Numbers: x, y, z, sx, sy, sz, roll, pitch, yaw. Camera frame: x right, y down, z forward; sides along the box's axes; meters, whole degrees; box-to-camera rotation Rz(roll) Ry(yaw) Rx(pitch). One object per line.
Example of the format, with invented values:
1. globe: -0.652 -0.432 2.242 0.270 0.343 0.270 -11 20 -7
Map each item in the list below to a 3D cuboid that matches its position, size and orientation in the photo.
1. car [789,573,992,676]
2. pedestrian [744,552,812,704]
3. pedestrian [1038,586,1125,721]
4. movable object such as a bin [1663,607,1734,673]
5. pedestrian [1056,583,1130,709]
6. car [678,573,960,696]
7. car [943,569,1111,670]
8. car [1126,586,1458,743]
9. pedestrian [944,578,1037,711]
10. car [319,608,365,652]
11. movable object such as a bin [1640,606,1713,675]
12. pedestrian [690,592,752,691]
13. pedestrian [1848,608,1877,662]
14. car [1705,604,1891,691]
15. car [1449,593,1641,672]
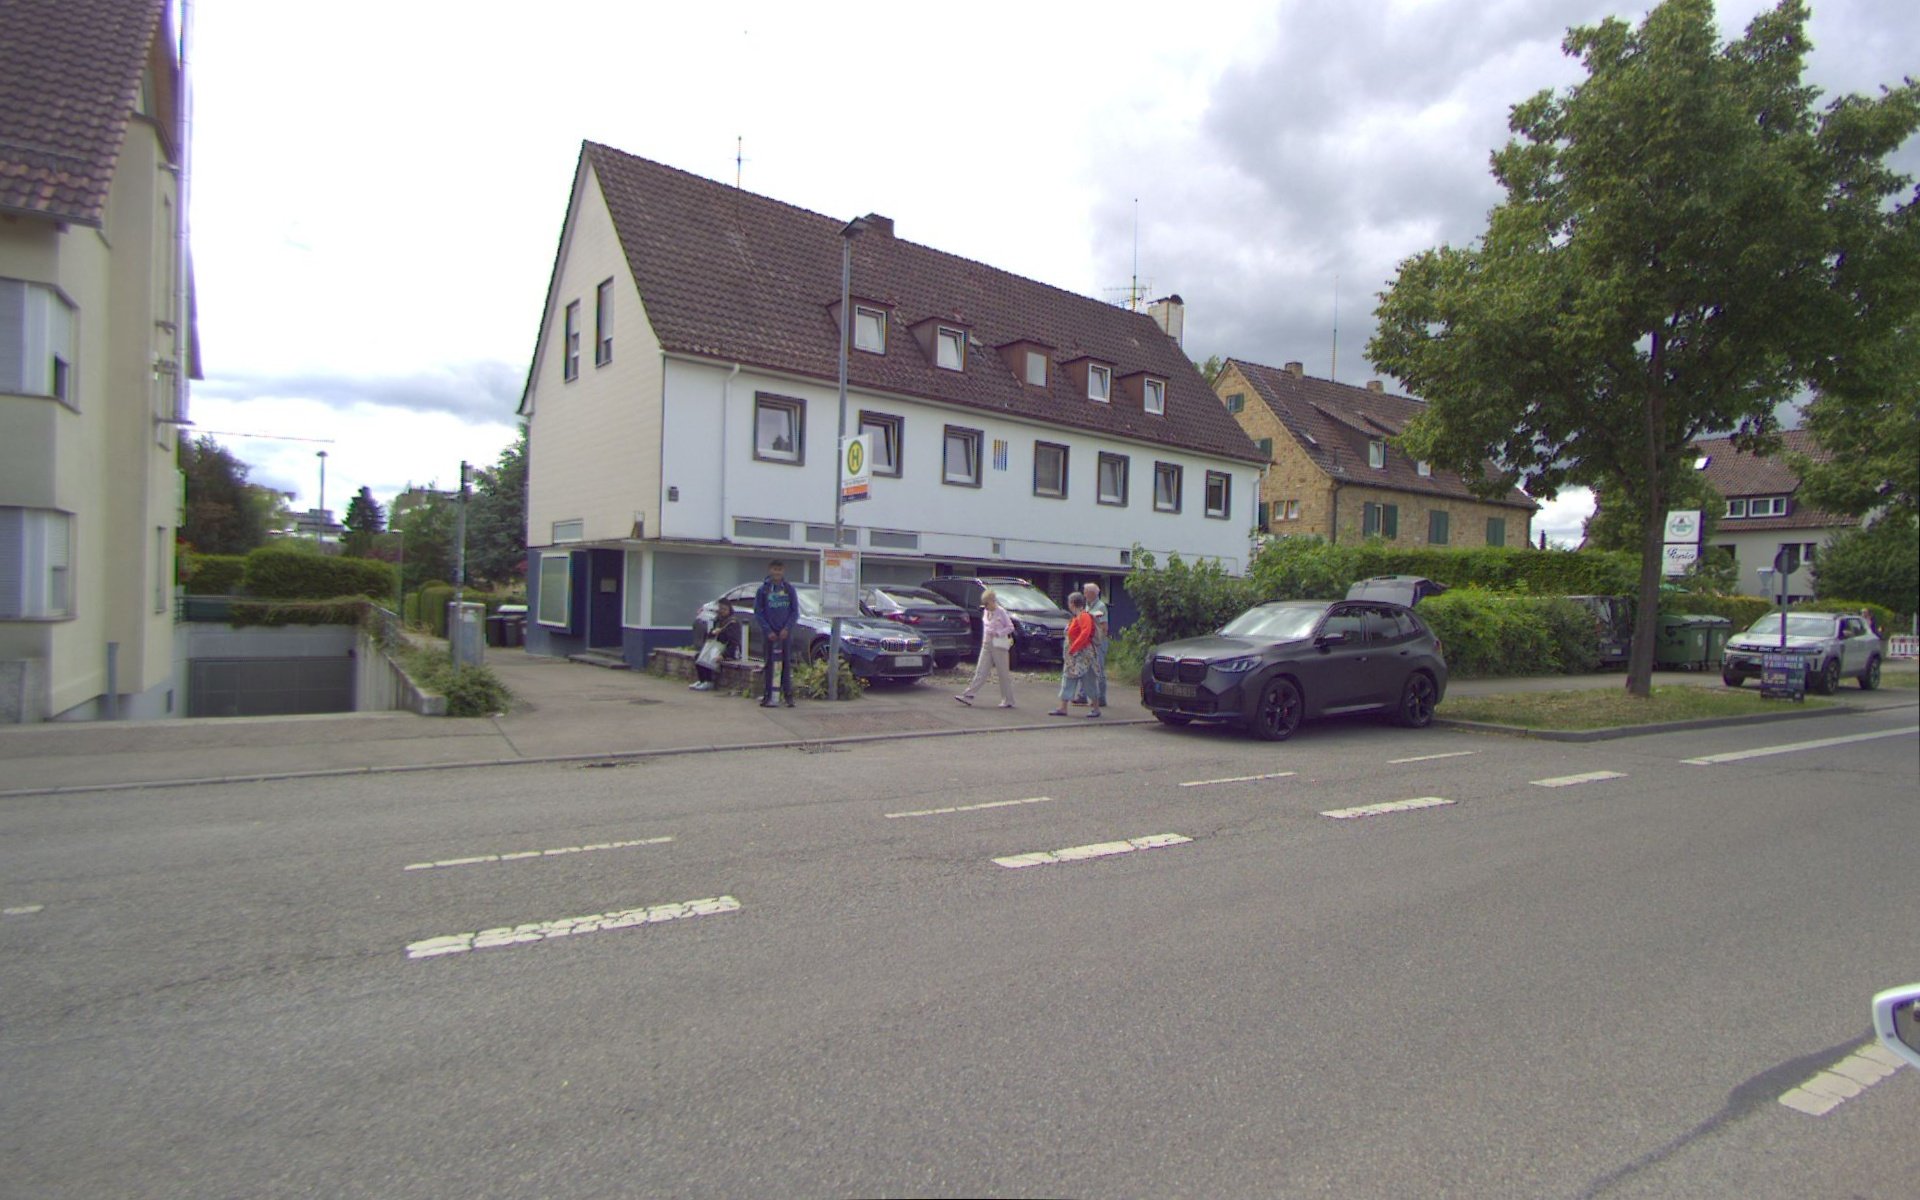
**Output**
1. car: -1.370 0.359 18.103 1.774 1.502 3.958 1 3 -37
2. pedestrian: -2.261 0.338 12.453 0.664 1.830 0.501 1 0 -31
3. pedestrian: 1.598 0.679 13.267 0.747 1.686 0.781 1 2 -38
4. movable object such as a bin: 19.939 1.062 27.142 0.987 1.673 1.198 1 2 -33
5. pedestrian: 1.883 0.634 14.264 0.586 1.686 0.781 1 4 -37
6. car: -2.332 0.442 15.844 4.463 1.574 2.025 3 1 43
7. car: 1.191 0.309 19.815 1.841 1.714 3.981 -2 1 -20
8. car: 4.444 0.754 13.184 4.517 1.748 1.713 1 1 -34
9. pedestrian: 0.409 0.579 13.590 0.873 1.686 0.781 1 4 -38
10. car: -33.561 1.595 54.511 1.979 2.041 3.962 1 2 -34
11. movable object such as a bin: 18.619 1.028 26.111 0.987 1.673 1.198 1 2 -33
12. pedestrian: -3.338 0.566 14.030 0.697 1.330 0.585 1 0 -30
13. pedestrian: 30.769 1.179 34.253 0.551 1.808 0.541 1 0 19
14. car: 18.159 0.990 21.717 4.247 1.676 1.850 1 0 -32
15. car: 15.499 0.799 26.816 1.977 1.917 3.967 1 0 -30
